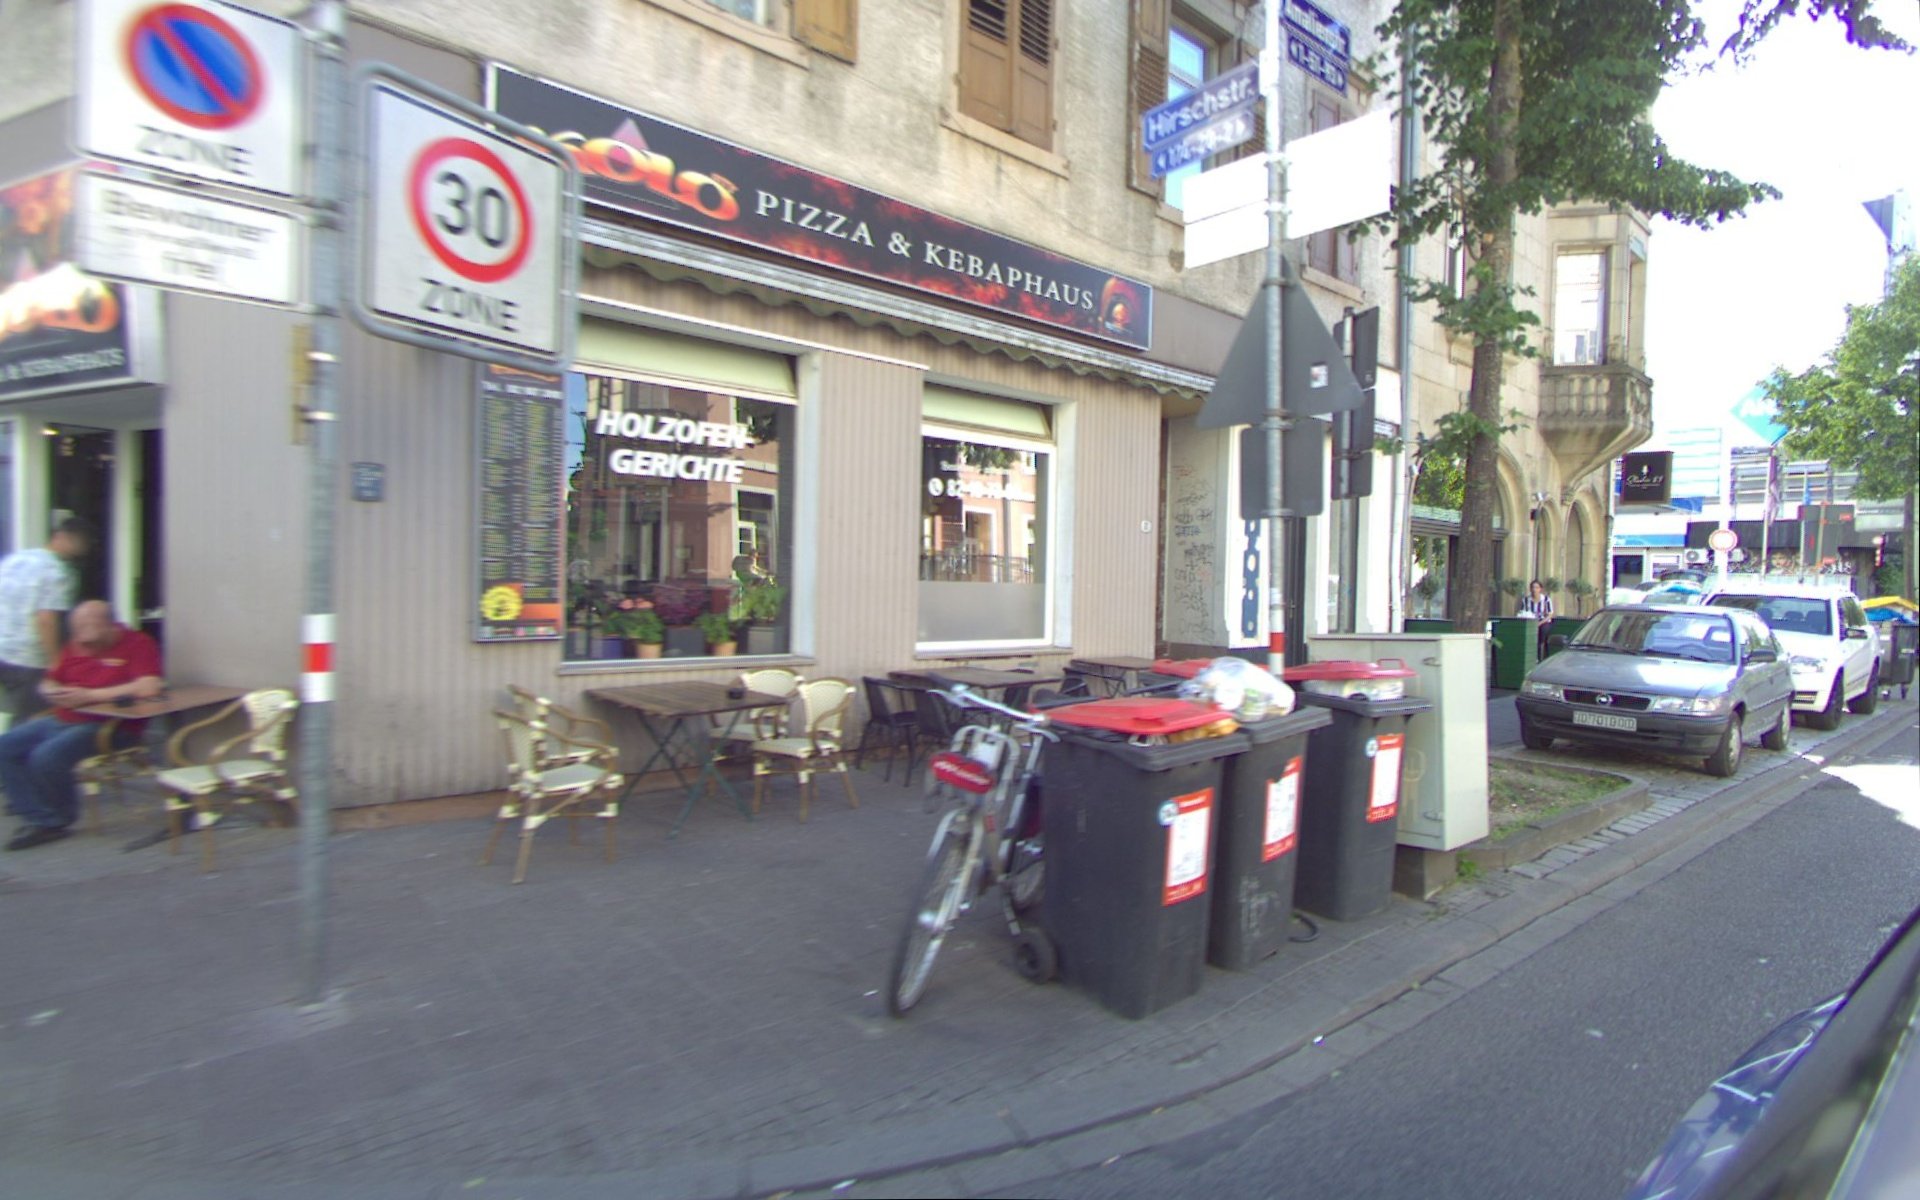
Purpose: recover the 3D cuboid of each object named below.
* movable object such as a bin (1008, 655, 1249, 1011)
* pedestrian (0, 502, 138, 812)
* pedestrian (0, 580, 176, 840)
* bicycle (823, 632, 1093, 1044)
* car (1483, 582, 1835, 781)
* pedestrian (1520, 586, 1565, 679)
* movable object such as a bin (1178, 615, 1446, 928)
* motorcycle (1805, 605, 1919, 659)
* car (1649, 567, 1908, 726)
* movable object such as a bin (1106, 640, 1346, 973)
[{"bbox_3d":[0.614,0.795,3.759,0.591,1.080,0.635,-2,4,-39],"label":"movable object such as a bin"},{"bbox_3d":[-5.565,0.290,6.002,0.787,1.717,0.706,1,3,10],"label":"pedestrian"},{"bbox_3d":[-4.793,0.549,5.433,0.701,1.274,0.589,1,3,10],"label":"pedestrian"},{"bbox_3d":[0.079,0.770,3.977,0.374,1.159,1.660,3,3,24],"label":"bicycle"},{"bbox_3d":[6.895,0.624,9.823,4.087,1.436,1.834,0,3,-42],"label":"car"},{"bbox_3d":[9.455,0.514,16.428,0.512,1.461,0.460,0,1,-42],"label":"pedestrian"},{"bbox_3d":[1.646,0.726,4.795,0.686,1.228,0.944,0,3,-40],"label":"movable object such as a bin"},{"bbox_3d":[21.103,0.728,23.135,2.638,1.091,0.951,3,2,35],"label":"motorcycle"},{"bbox_3d":[10.700,0.506,13.131,4.086,1.670,1.835,1,3,-41],"label":"car"},{"bbox_3d":[1.090,0.782,4.201,0.591,1.170,0.722,1,1,-38],"label":"movable object such as a bin"}]
